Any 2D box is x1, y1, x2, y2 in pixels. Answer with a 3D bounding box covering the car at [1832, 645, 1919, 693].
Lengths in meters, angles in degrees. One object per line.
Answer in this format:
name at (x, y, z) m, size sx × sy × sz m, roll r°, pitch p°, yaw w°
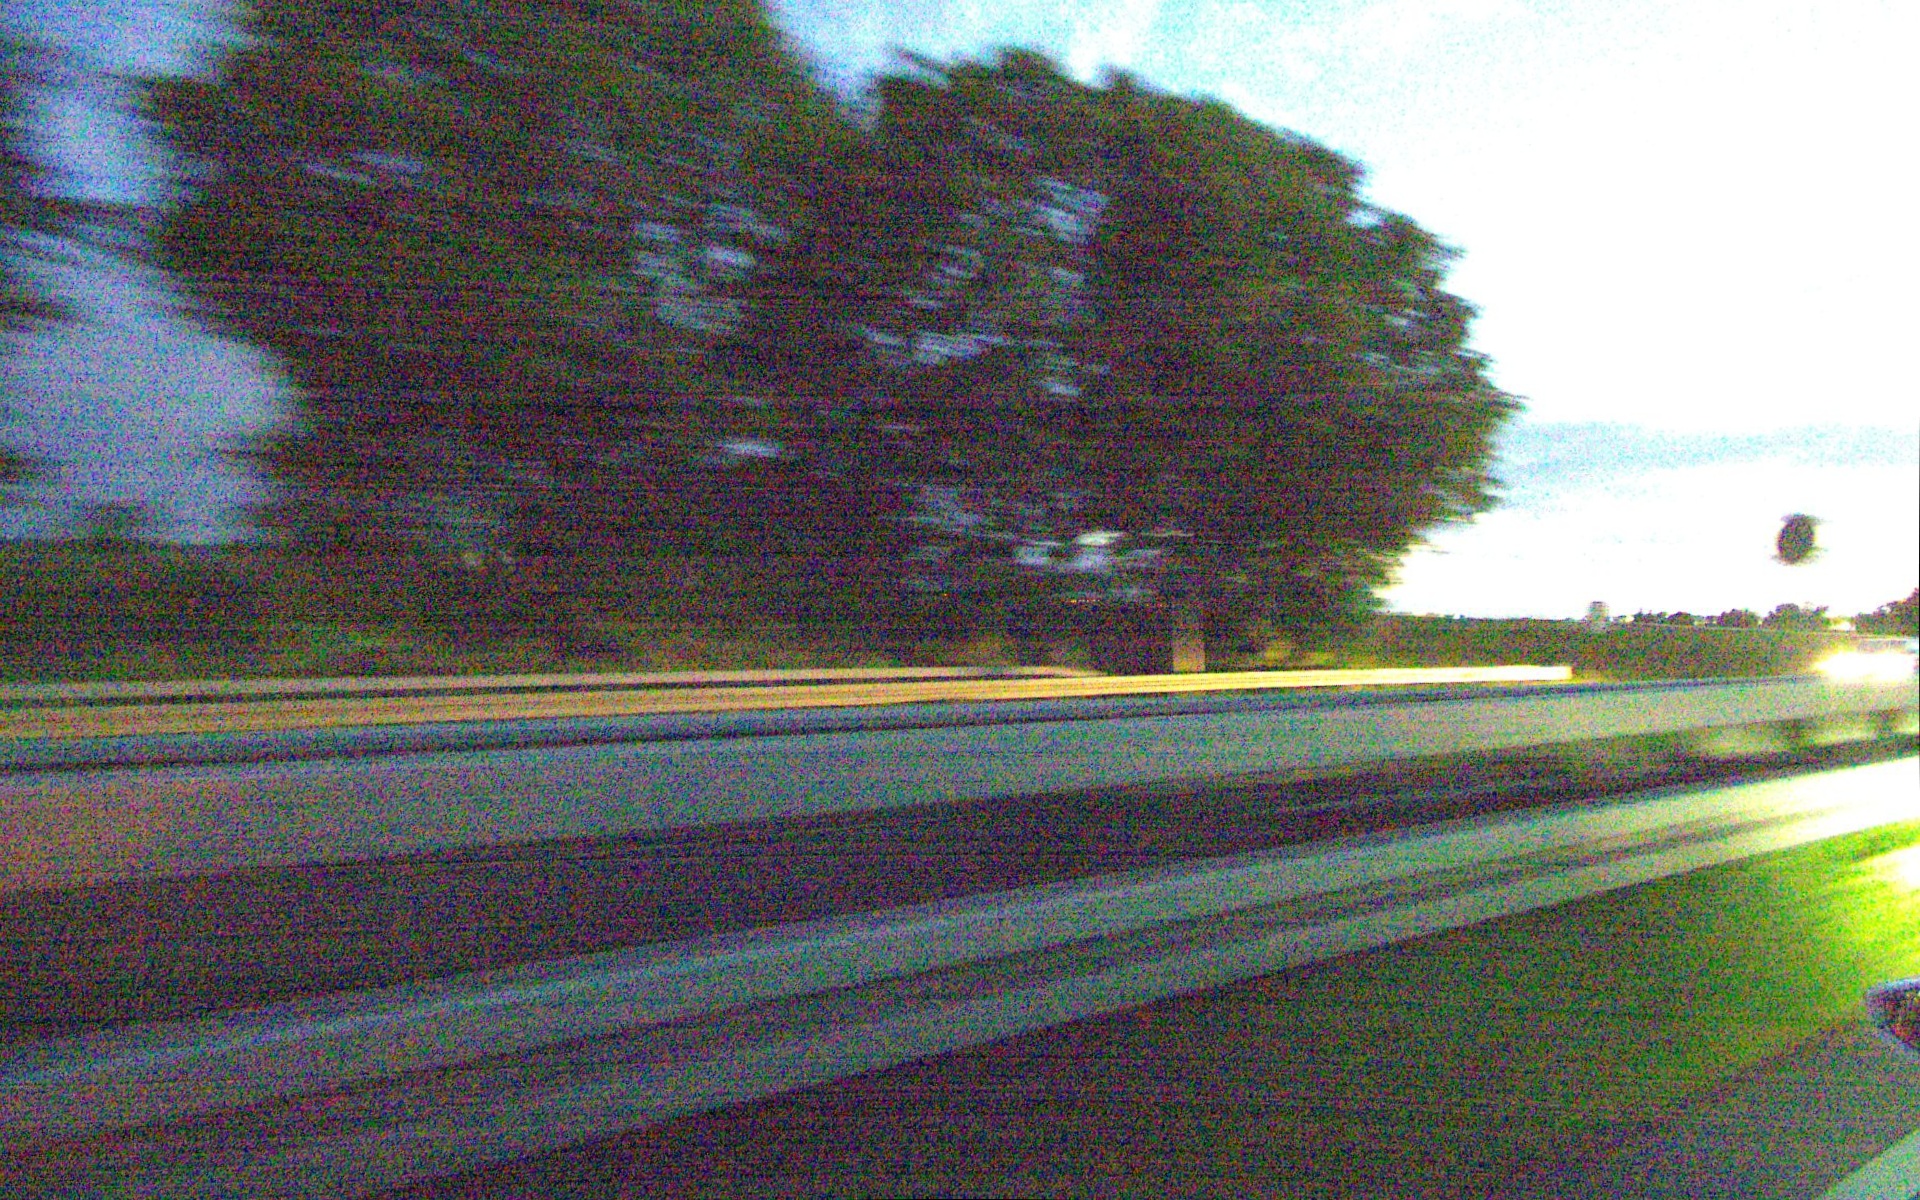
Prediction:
car at (27.407, 1.994, 29.516) m, size 3.895 × 1.347 × 1.597 m, roll 2°, pitch -3°, yaw -32°
